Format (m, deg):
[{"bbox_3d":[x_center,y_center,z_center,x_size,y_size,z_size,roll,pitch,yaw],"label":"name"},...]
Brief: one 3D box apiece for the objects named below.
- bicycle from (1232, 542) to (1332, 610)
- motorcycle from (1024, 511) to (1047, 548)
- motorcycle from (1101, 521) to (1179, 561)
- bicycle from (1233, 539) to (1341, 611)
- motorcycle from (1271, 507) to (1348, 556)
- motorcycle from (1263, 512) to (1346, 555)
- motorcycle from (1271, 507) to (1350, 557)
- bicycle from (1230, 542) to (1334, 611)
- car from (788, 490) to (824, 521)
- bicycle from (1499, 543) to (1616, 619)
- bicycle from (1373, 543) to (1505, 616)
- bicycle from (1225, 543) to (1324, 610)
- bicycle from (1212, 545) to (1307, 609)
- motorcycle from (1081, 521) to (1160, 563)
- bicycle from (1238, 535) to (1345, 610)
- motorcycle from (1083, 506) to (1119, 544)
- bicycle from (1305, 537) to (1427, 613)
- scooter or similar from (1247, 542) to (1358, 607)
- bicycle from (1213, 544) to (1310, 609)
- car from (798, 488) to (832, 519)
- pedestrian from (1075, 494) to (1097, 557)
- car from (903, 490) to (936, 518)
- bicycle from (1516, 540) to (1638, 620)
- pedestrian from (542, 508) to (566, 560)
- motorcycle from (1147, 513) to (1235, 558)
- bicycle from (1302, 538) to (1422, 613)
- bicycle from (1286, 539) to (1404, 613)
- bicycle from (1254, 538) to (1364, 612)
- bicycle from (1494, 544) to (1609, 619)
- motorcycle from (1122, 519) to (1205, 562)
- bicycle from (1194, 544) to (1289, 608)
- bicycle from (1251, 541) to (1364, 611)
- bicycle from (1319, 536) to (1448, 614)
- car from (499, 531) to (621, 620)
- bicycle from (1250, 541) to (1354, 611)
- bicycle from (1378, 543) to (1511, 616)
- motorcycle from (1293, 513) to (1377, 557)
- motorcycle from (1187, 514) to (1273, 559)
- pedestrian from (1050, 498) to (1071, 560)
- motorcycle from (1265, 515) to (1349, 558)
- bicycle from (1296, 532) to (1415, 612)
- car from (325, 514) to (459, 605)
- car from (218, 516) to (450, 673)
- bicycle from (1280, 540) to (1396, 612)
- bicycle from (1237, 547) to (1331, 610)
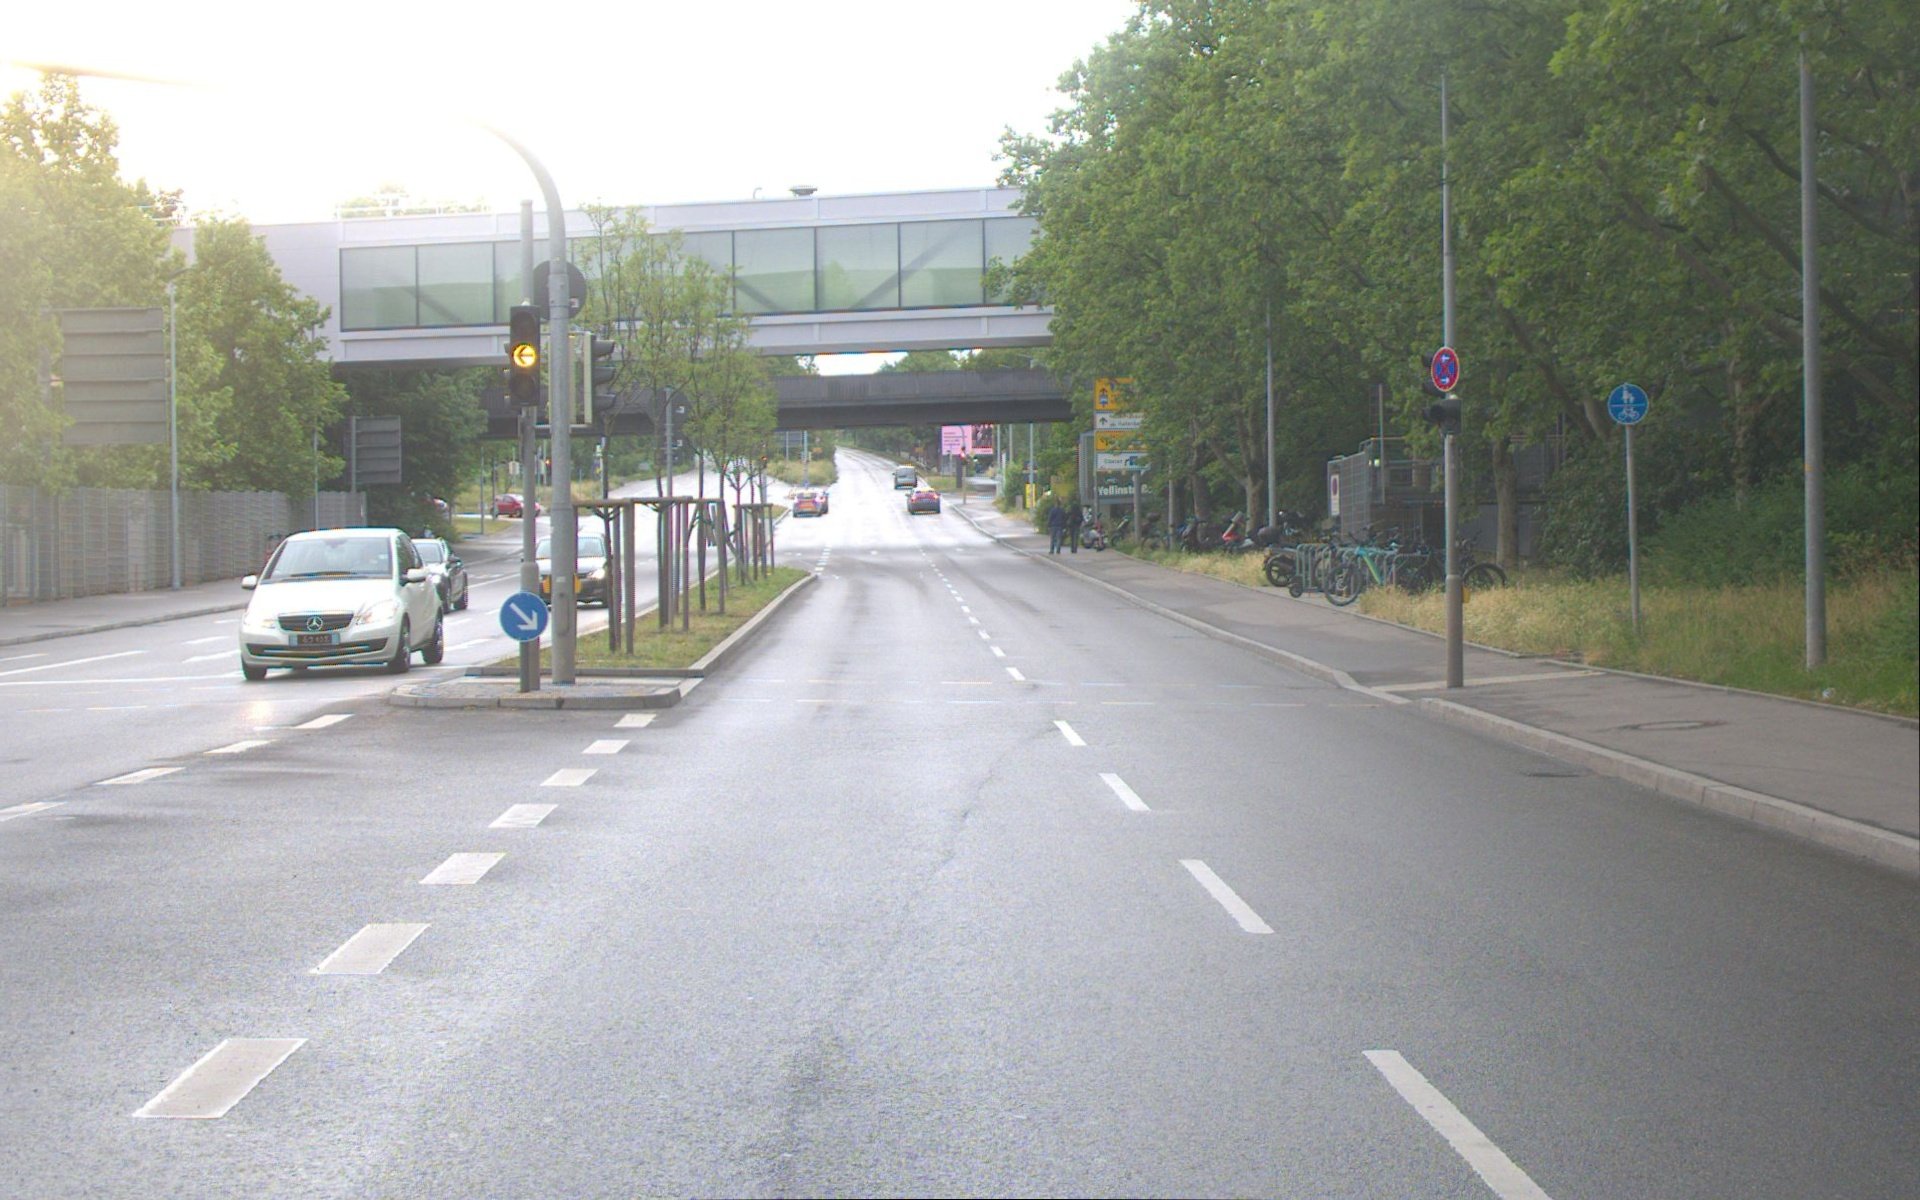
[{"bbox_3d":[6.594,-0.489,70.359,1.960,1.324,0.576,2,0,0],"label":"bicycle"},{"bbox_3d":[3.185,-2.969,144.365,0.790,1.528,2.377,-2,1,-2],"label":"motorcycle"},{"bbox_3d":[5.646,-1.856,108.030,2.369,1.198,0.792,-1,1,7],"label":"motorcycle"},{"bbox_3d":[6.261,-0.480,65.879,1.990,1.324,0.576,2,0,0],"label":"bicycle"},{"bbox_3d":[11.004,-2.159,108.264,2.369,1.471,0.722,-1,1,7],"label":"motorcycle"},{"bbox_3d":[10.132,-1.967,101.062,2.369,1.198,0.722,-1,1,7],"label":"motorcycle"},{"bbox_3d":[10.913,-2.115,107.030,2.369,1.471,0.722,-1,1,7],"label":"motorcycle"},{"bbox_3d":[6.468,-0.479,69.121,1.990,1.324,0.576,2,0,0],"label":"bicycle"},{"bbox_3d":[-9.254,-5.674,206.680,1.993,1.756,4.000,2,0,0],"label":"car"},{"bbox_3d":[10.872,-0.344,62.606,1.990,1.324,0.576,2,0,0],"label":"bicycle"},{"bbox_3d":[7.577,-0.322,54.424,1.990,1.091,0.541,2,0,0],"label":"bicycle"},{"bbox_3d":[6.500,-0.492,71.049,1.963,1.324,0.654,2,0,0],"label":"bicycle"},{"bbox_3d":[6.470,-0.498,74.369,1.963,1.324,0.654,2,0,0],"label":"bicycle"},{"bbox_3d":[4.944,-1.785,105.800,2.369,1.198,0.722,-1,1,7],"label":"motorcycle"},{"bbox_3d":[6.514,-0.538,67.556,1.990,1.425,0.723,2,0,0],"label":"bicycle"},{"bbox_3d":[5.005,-2.656,121.883,0.790,1.307,2.377,-2,1,-9],"label":"motorcycle"},{"bbox_3d":[6.926,-0.420,58.695,1.990,1.237,0.541,2,0,0],"label":"bicycle"},{"bbox_3d":[6.351,-0.472,63.809,1.990,1.134,0.541,2,0,0],"label":"scooter or similar"},{"bbox_3d":[6.362,-0.499,72.651,1.963,1.324,0.654,2,0,0],"label":"bicycle"},{"bbox_3d":[-8.900,-5.899,211.313,1.884,1.756,3.969,2,0,0],"label":"car"},{"bbox_3d":[4.053,-2.396,110.806,0.622,2.007,0.605,-2,1,0],"label":"pedestrian"},{"bbox_3d":[-2.380,-5.666,202.883,1.875,1.492,4.068,2,0,0],"label":"car"},{"bbox_3d":[10.732,-0.345,59.848,1.990,1.324,0.576,2,0,0],"label":"bicycle"},{"bbox_3d":[-15.926,-2.593,134.876,0.872,1.997,0.855,-2,1,-4],"label":"pedestrian"},{"bbox_3d":[6.415,-1.791,95.316,2.369,1.198,0.722,-1,1,7],"label":"motorcycle"},{"bbox_3d":[6.927,-0.421,59.283,1.990,1.237,0.541,2,0,0],"label":"bicycle"},{"bbox_3d":[6.805,-0.426,60.841,1.990,1.237,0.541,2,0,0],"label":"bicycle"},{"bbox_3d":[6.594,-0.470,65.070,1.990,1.324,0.576,2,0,0],"label":"bicycle"},{"bbox_3d":[10.879,-0.345,63.254,1.990,1.324,0.576,2,0,0],"label":"bicycle"},{"bbox_3d":[6.020,-1.759,101.532,2.369,1.198,0.722,-1,1,7],"label":"motorcycle"},{"bbox_3d":[6.020,-0.510,73.564,1.963,1.324,0.654,2,0,0],"label":"bicycle"},{"bbox_3d":[6.375,-0.442,63.164,1.990,1.237,0.541,2,0,0],"label":"bicycle"},{"bbox_3d":[6.878,-0.405,55.882,1.990,1.212,0.541,2,0,0],"label":"bicycle"},{"bbox_3d":[-7.596,-0.487,65.607,1.877,1.619,3.779,-1,1,0],"label":"car"},{"bbox_3d":[6.804,-0.480,68.410,1.990,1.324,0.576,2,0,0],"label":"bicycle"},{"bbox_3d":[7.583,-0.321,53.855,1.990,1.091,0.541,2,0,0],"label":"bicycle"},{"bbox_3d":[10.797,-1.872,99.011,2.369,1.198,0.722,-1,1,7],"label":"motorcycle"},{"bbox_3d":[7.608,-1.797,96.792,2.369,1.198,0.722,-1,1,7],"label":"motorcycle"},{"bbox_3d":[3.245,-2.291,110.932,0.622,2.007,0.605,-2,1,0],"label":"pedestrian"},{"bbox_3d":[10.116,-1.854,100.168,2.369,1.198,0.722,-1,1,7],"label":"motorcycle"},{"bbox_3d":[6.910,-0.489,60.149,1.990,1.336,0.541,2,0,0],"label":"bicycle"},{"bbox_3d":[-10.560,-0.775,64.173,1.877,1.619,3.779,-1,1,0],"label":"car"},{"bbox_3d":[-6.882,-0.098,38.132,1.877,1.619,3.779,-1,1,0],"label":"car"},{"bbox_3d":[6.790,-0.428,61.790,1.990,1.237,0.541,2,0,0],"label":"bicycle"},{"bbox_3d":[7.147,-0.481,75.872,1.963,1.324,0.654,2,0,0],"label":"bicycle"}]
